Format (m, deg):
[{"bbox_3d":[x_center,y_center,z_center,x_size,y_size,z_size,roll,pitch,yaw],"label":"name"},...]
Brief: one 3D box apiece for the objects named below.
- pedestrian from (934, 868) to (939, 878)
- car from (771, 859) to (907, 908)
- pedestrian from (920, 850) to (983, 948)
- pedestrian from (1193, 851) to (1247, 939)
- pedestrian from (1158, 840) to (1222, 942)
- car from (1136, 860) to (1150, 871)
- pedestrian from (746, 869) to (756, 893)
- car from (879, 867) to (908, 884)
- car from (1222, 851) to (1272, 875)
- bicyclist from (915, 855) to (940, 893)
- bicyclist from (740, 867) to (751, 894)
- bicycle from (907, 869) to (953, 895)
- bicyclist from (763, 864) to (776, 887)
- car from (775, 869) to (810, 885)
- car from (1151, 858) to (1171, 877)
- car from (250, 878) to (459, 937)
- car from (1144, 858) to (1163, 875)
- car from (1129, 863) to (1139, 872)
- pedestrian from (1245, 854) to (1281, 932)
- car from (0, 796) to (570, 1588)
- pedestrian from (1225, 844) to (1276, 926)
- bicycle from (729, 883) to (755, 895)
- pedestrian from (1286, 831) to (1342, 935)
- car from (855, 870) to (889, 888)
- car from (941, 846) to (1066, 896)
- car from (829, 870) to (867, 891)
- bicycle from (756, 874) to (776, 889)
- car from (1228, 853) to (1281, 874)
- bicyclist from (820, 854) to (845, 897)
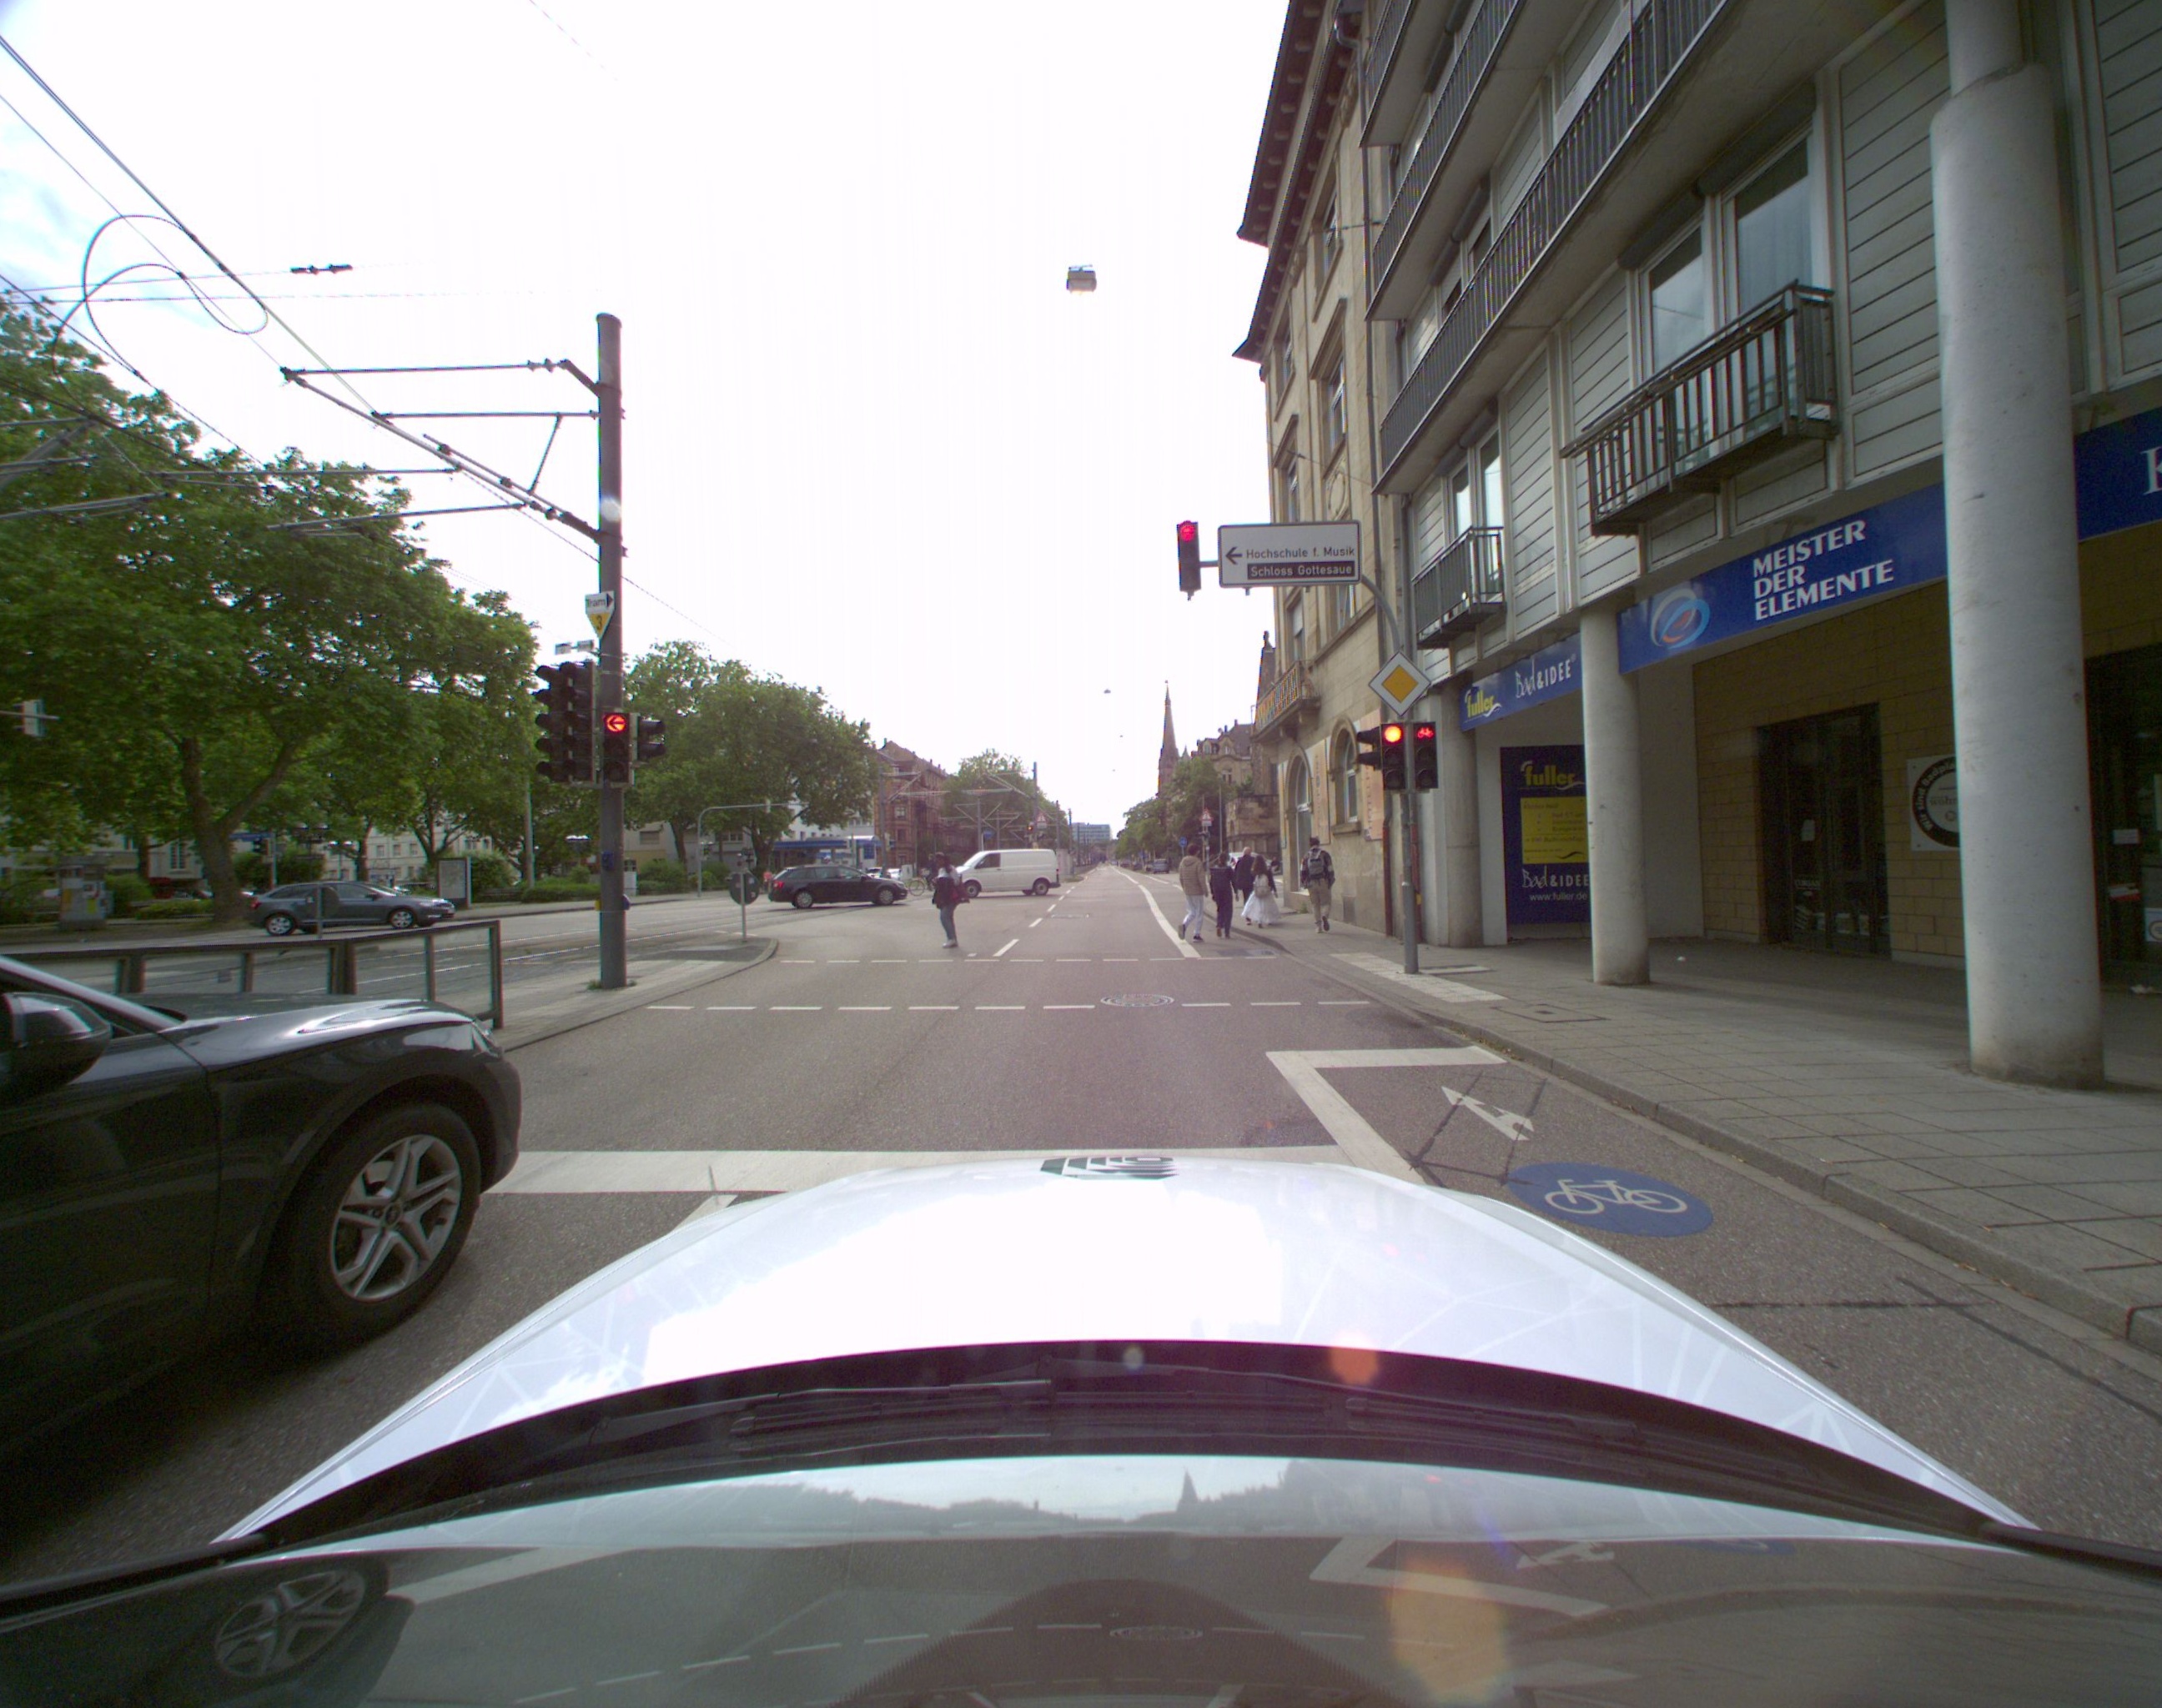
[{"bbox_3d":[-21.178,2.739,119.488,0.447,1.460,0.528,-1,-1,44],"label":"pedestrian"},{"bbox_3d":[-8.359,0.980,28.135,4.346,1.586,1.797,0,-1,-24],"label":"car"},{"bbox_3d":[-2.290,0.772,14.431,0.663,1.680,0.874,-1,-1,40],"label":"pedestrian"},{"bbox_3d":[2.726,0.771,15.902,0.620,1.653,1.003,-1,-1,39],"label":"pedestrian"},{"bbox_3d":[2.005,0.664,14.990,1.015,1.813,0.580,0,-1,-22],"label":"pedestrian"},{"bbox_3d":[9.734,1.771,128.452,1.986,1.607,4.165,-3,-1,1],"label":"car"},{"bbox_3d":[-24.813,1.994,61.228,0.371,1.784,0.555,-1,-1,26],"label":"pedestrian"},{"bbox_3d":[-18.313,2.106,79.760,1.887,1.557,3.837,0,-1,2],"label":"car"},{"bbox_3d":[13.868,0.748,68.155,3.785,1.904,2.001,0,-1,1],"label":"car"},{"bbox_3d":[-6.927,0.881,36.726,1.041,1.683,0.641,0,-1,-19],"label":"bicyclist"},{"bbox_3d":[-22.704,1.787,55.094,0.528,1.784,0.472,-1,-1,21],"label":"bicyclist"},{"bbox_3d":[-6.814,1.239,36.754,1.943,1.136,0.731,0,-1,-19],"label":"bicycle"},{"bbox_3d":[-21.413,1.449,55.998,0.585,1.568,0.619,0,-1,1],"label":"bicyclist"},{"bbox_3d":[-28.739,2.264,81.338,1.986,1.530,4.001,0,-1,2],"label":"car"},{"bbox_3d":[8.818,1.462,90.094,1.986,2.014,4.001,0,-1,1],"label":"car"},{"bbox_3d":[-20.258,1.442,22.951,3.997,1.469,1.827,0,-1,-23],"label":"car"},{"bbox_3d":[8.835,1.509,99.642,1.986,2.014,4.001,0,-1,1],"label":"car"},{"bbox_3d":[11.113,2.855,172.240,1.986,2.014,4.001,0,-1,2],"label":"car"},{"bbox_3d":[3.852,0.811,17.276,0.696,1.593,0.833,0,-1,10],"label":"pedestrian"},{"bbox_3d":[-3.142,0.694,1.264,1.873,1.601,4.358,-1,-1,1],"label":"car"},{"bbox_3d":[3.797,0.688,18.267,0.906,1.784,0.651,-1,-1,39],"label":"pedestrian"},{"bbox_3d":[-22.925,2.363,55.085,1.665,0.773,0.659,-1,-1,22],"label":"bicycle"},{"bbox_3d":[4.206,0.501,14.651,0.620,1.778,1.141,-5,-2,27],"label":"pedestrian"},{"bbox_3d":[-18.679,2.195,72.929,1.887,1.557,3.837,0,-1,2],"label":"car"},{"bbox_3d":[-3.260,0.685,34.363,4.886,1.967,1.973,0,-1,-24],"label":"car"},{"bbox_3d":[-18.854,2.113,65.950,1.887,1.557,3.837,0,-1,2],"label":"car"},{"bbox_3d":[-21.565,1.890,55.801,0.520,1.017,1.937,0,-1,2],"label":"bicycle"},{"bbox_3d":[13.756,0.780,64.744,3.785,1.601,2.001,0,-1,1],"label":"car"},{"bbox_3d":[-10.646,0.917,34.854,0.970,1.819,0.527,0,-1,-27],"label":"bicyclist"}]
